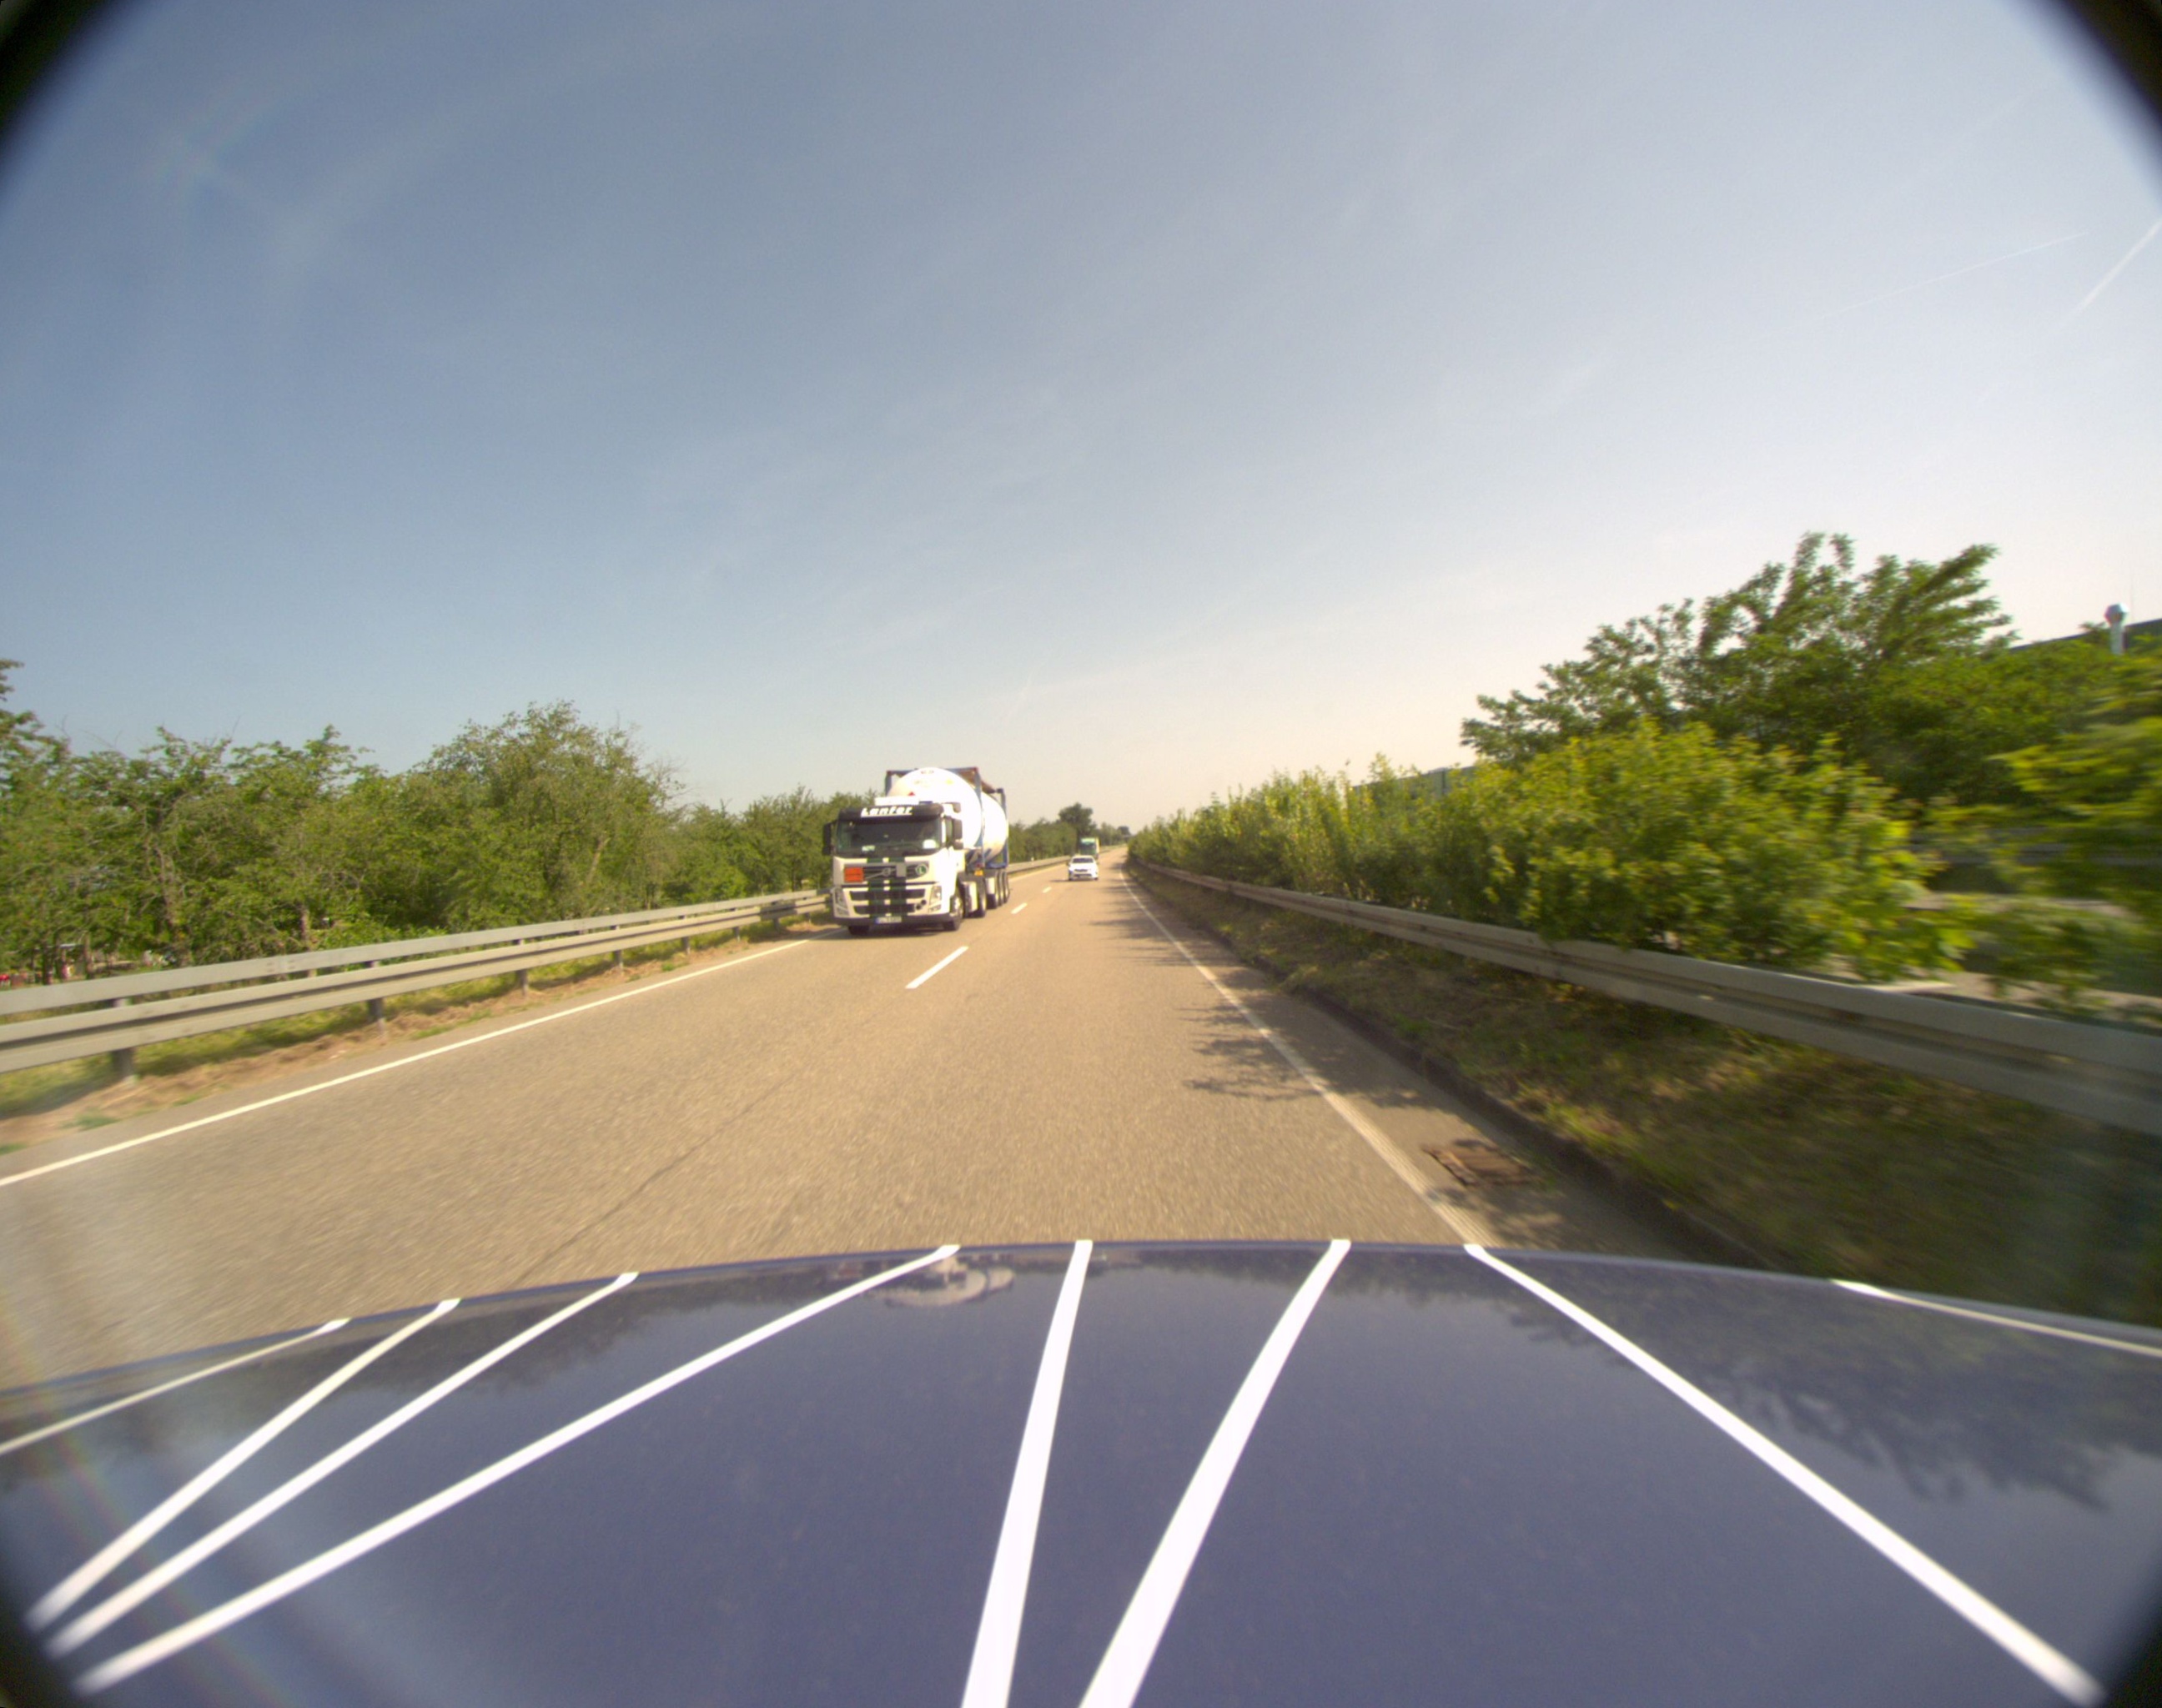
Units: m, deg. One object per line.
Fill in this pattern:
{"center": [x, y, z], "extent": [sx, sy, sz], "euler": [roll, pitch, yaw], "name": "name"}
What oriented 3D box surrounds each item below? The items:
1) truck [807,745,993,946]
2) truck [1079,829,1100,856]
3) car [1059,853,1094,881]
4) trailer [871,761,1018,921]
{"center": [-3.959, -0.193, 18.093], "extent": [2.778, 3.939, 5.627], "euler": [-2, 1, 2], "name": "truck"}
{"center": [1.436, -1.855, 122.544], "extent": [2.548, 4.136, 8.442], "euler": [-2, 1, 6], "name": "truck"}
{"center": [-0.220, 0.734, 44.457], "extent": [1.789, 1.427, 4.000], "euler": [-3, 1, 2], "name": "car"}
{"center": [-3.830, -0.358, 23.539], "extent": [2.763, 3.968, 8.186], "euler": [-2, 0, 1], "name": "trailer"}
